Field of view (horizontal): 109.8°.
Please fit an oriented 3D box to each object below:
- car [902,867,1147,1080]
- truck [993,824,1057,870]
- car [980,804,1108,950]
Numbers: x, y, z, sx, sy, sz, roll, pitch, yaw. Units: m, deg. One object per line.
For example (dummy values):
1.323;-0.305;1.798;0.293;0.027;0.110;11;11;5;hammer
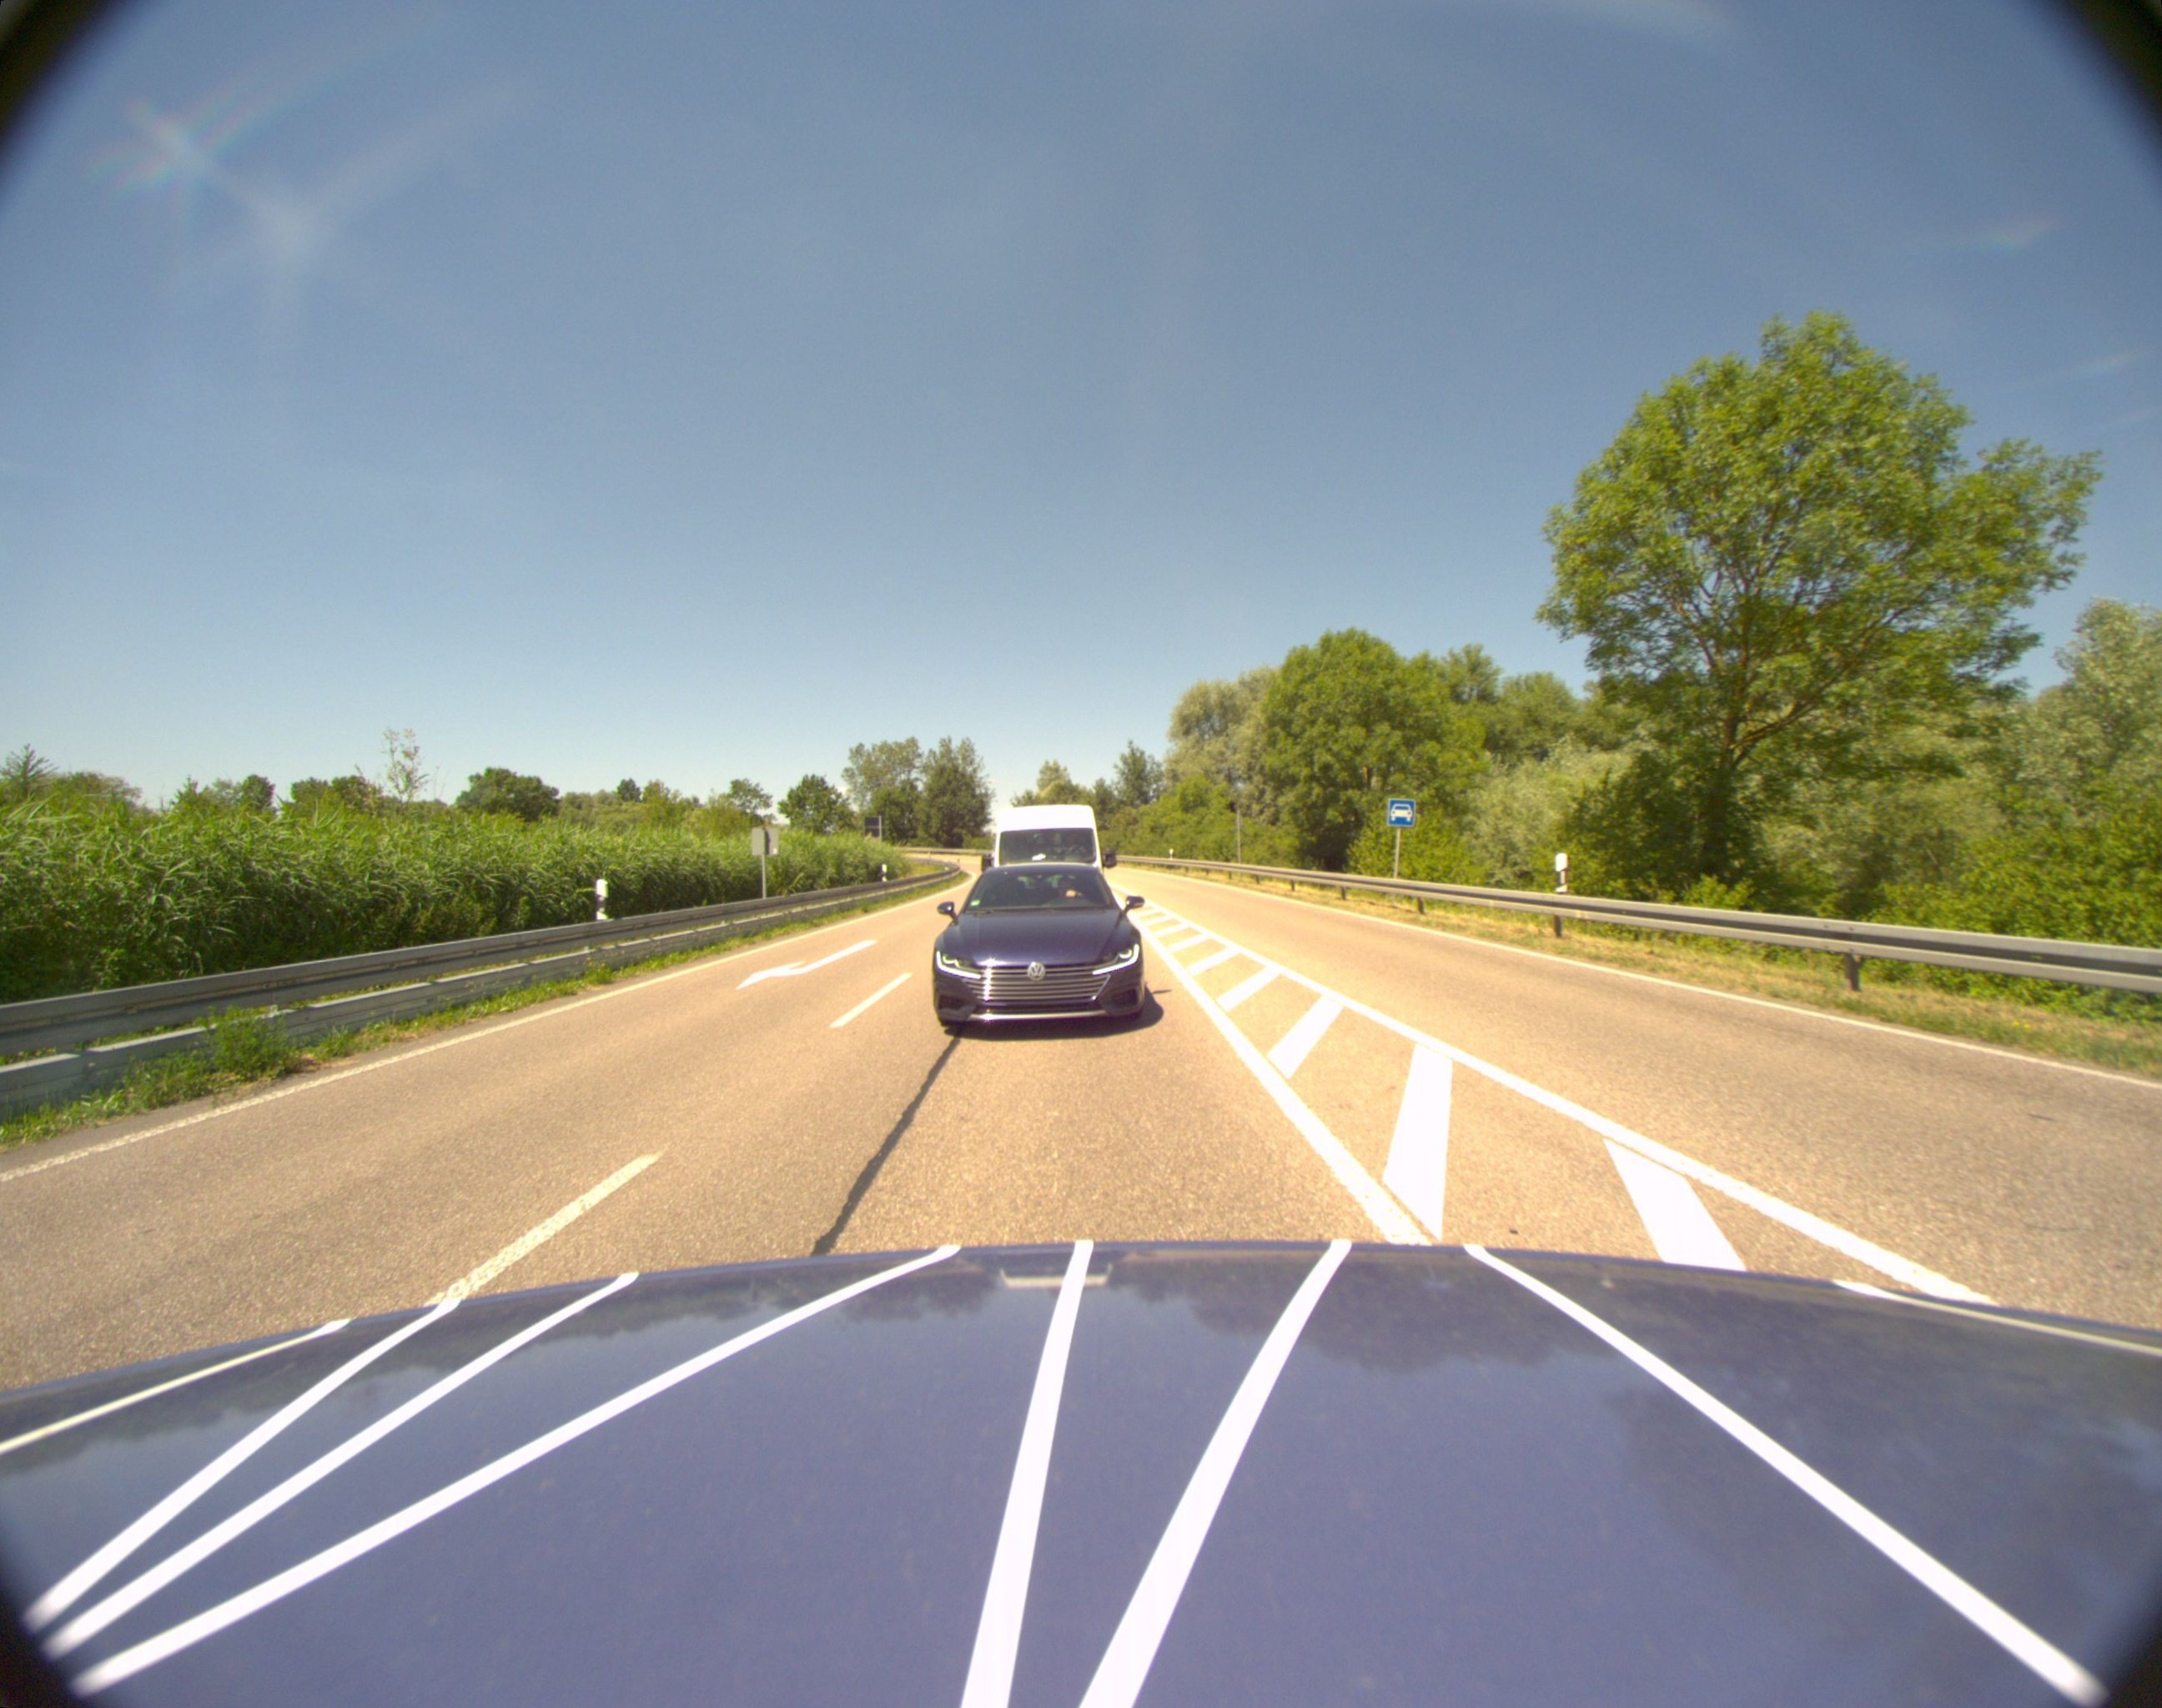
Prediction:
-0.409;0.917;7.614;1.761;1.401;3.999;-2;1;0;car
-4.232;-0.500;55.144;2.579;3.052;9.066;-2;1;-17;truck
-0.601;0.347;15.574;2.059;2.376;5.825;-2;1;0;car
